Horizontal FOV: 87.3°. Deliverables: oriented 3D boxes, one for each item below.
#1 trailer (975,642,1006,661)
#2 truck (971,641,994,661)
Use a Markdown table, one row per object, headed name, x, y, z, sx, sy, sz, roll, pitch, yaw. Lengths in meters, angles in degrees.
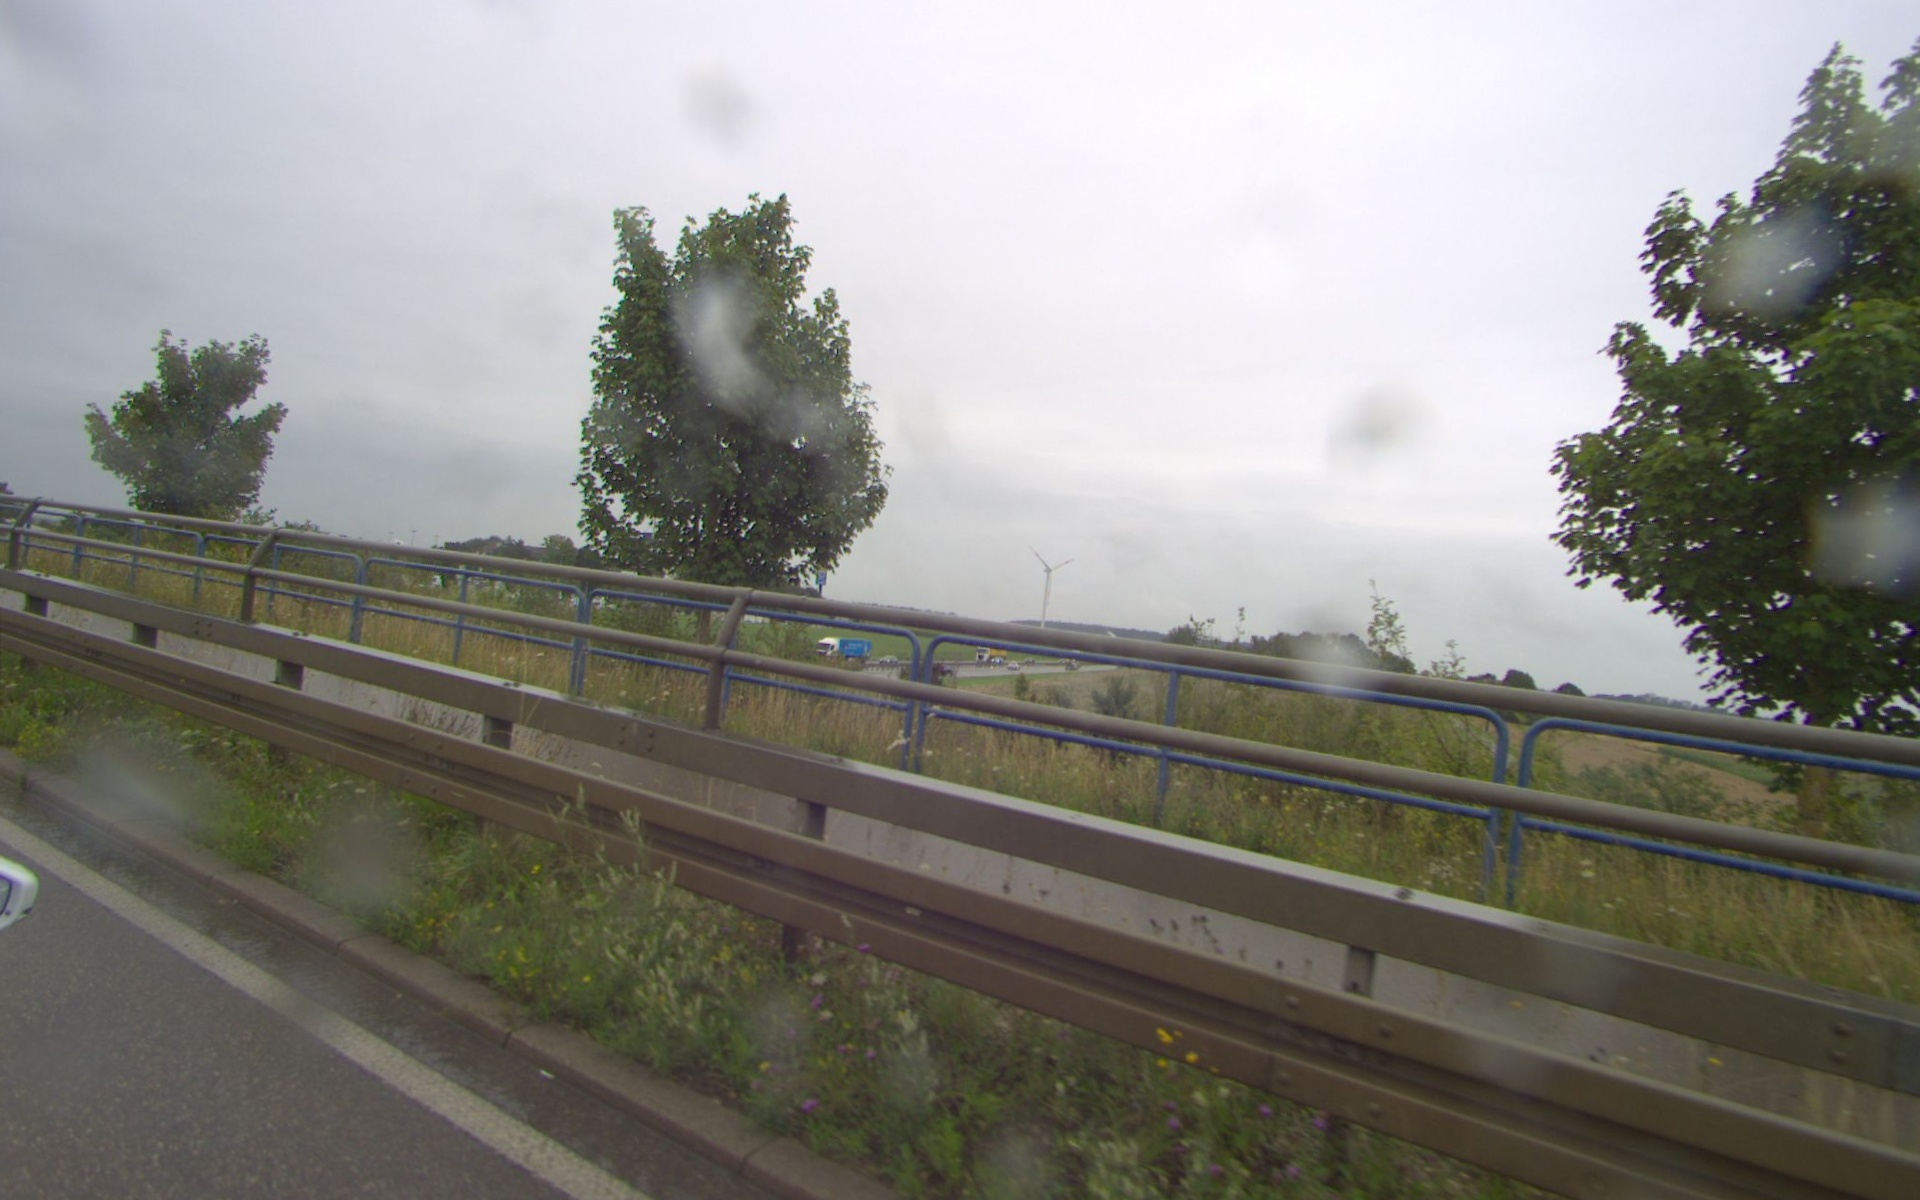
| name | x | y | z | sx | sy | sz | roll | pitch | yaw |
| --- | --- | --- | --- | --- | --- | --- | --- | --- | --- |
| trailer | 7.256 | 12.184 | 237.886 | 2.828 | 4.015 | 14.028 | 7 | -1 | 20 |
| truck | 5.161 | 11.775 | 231.916 | 2.828 | 4.015 | 6.823 | 7 | -1 | 20 |
